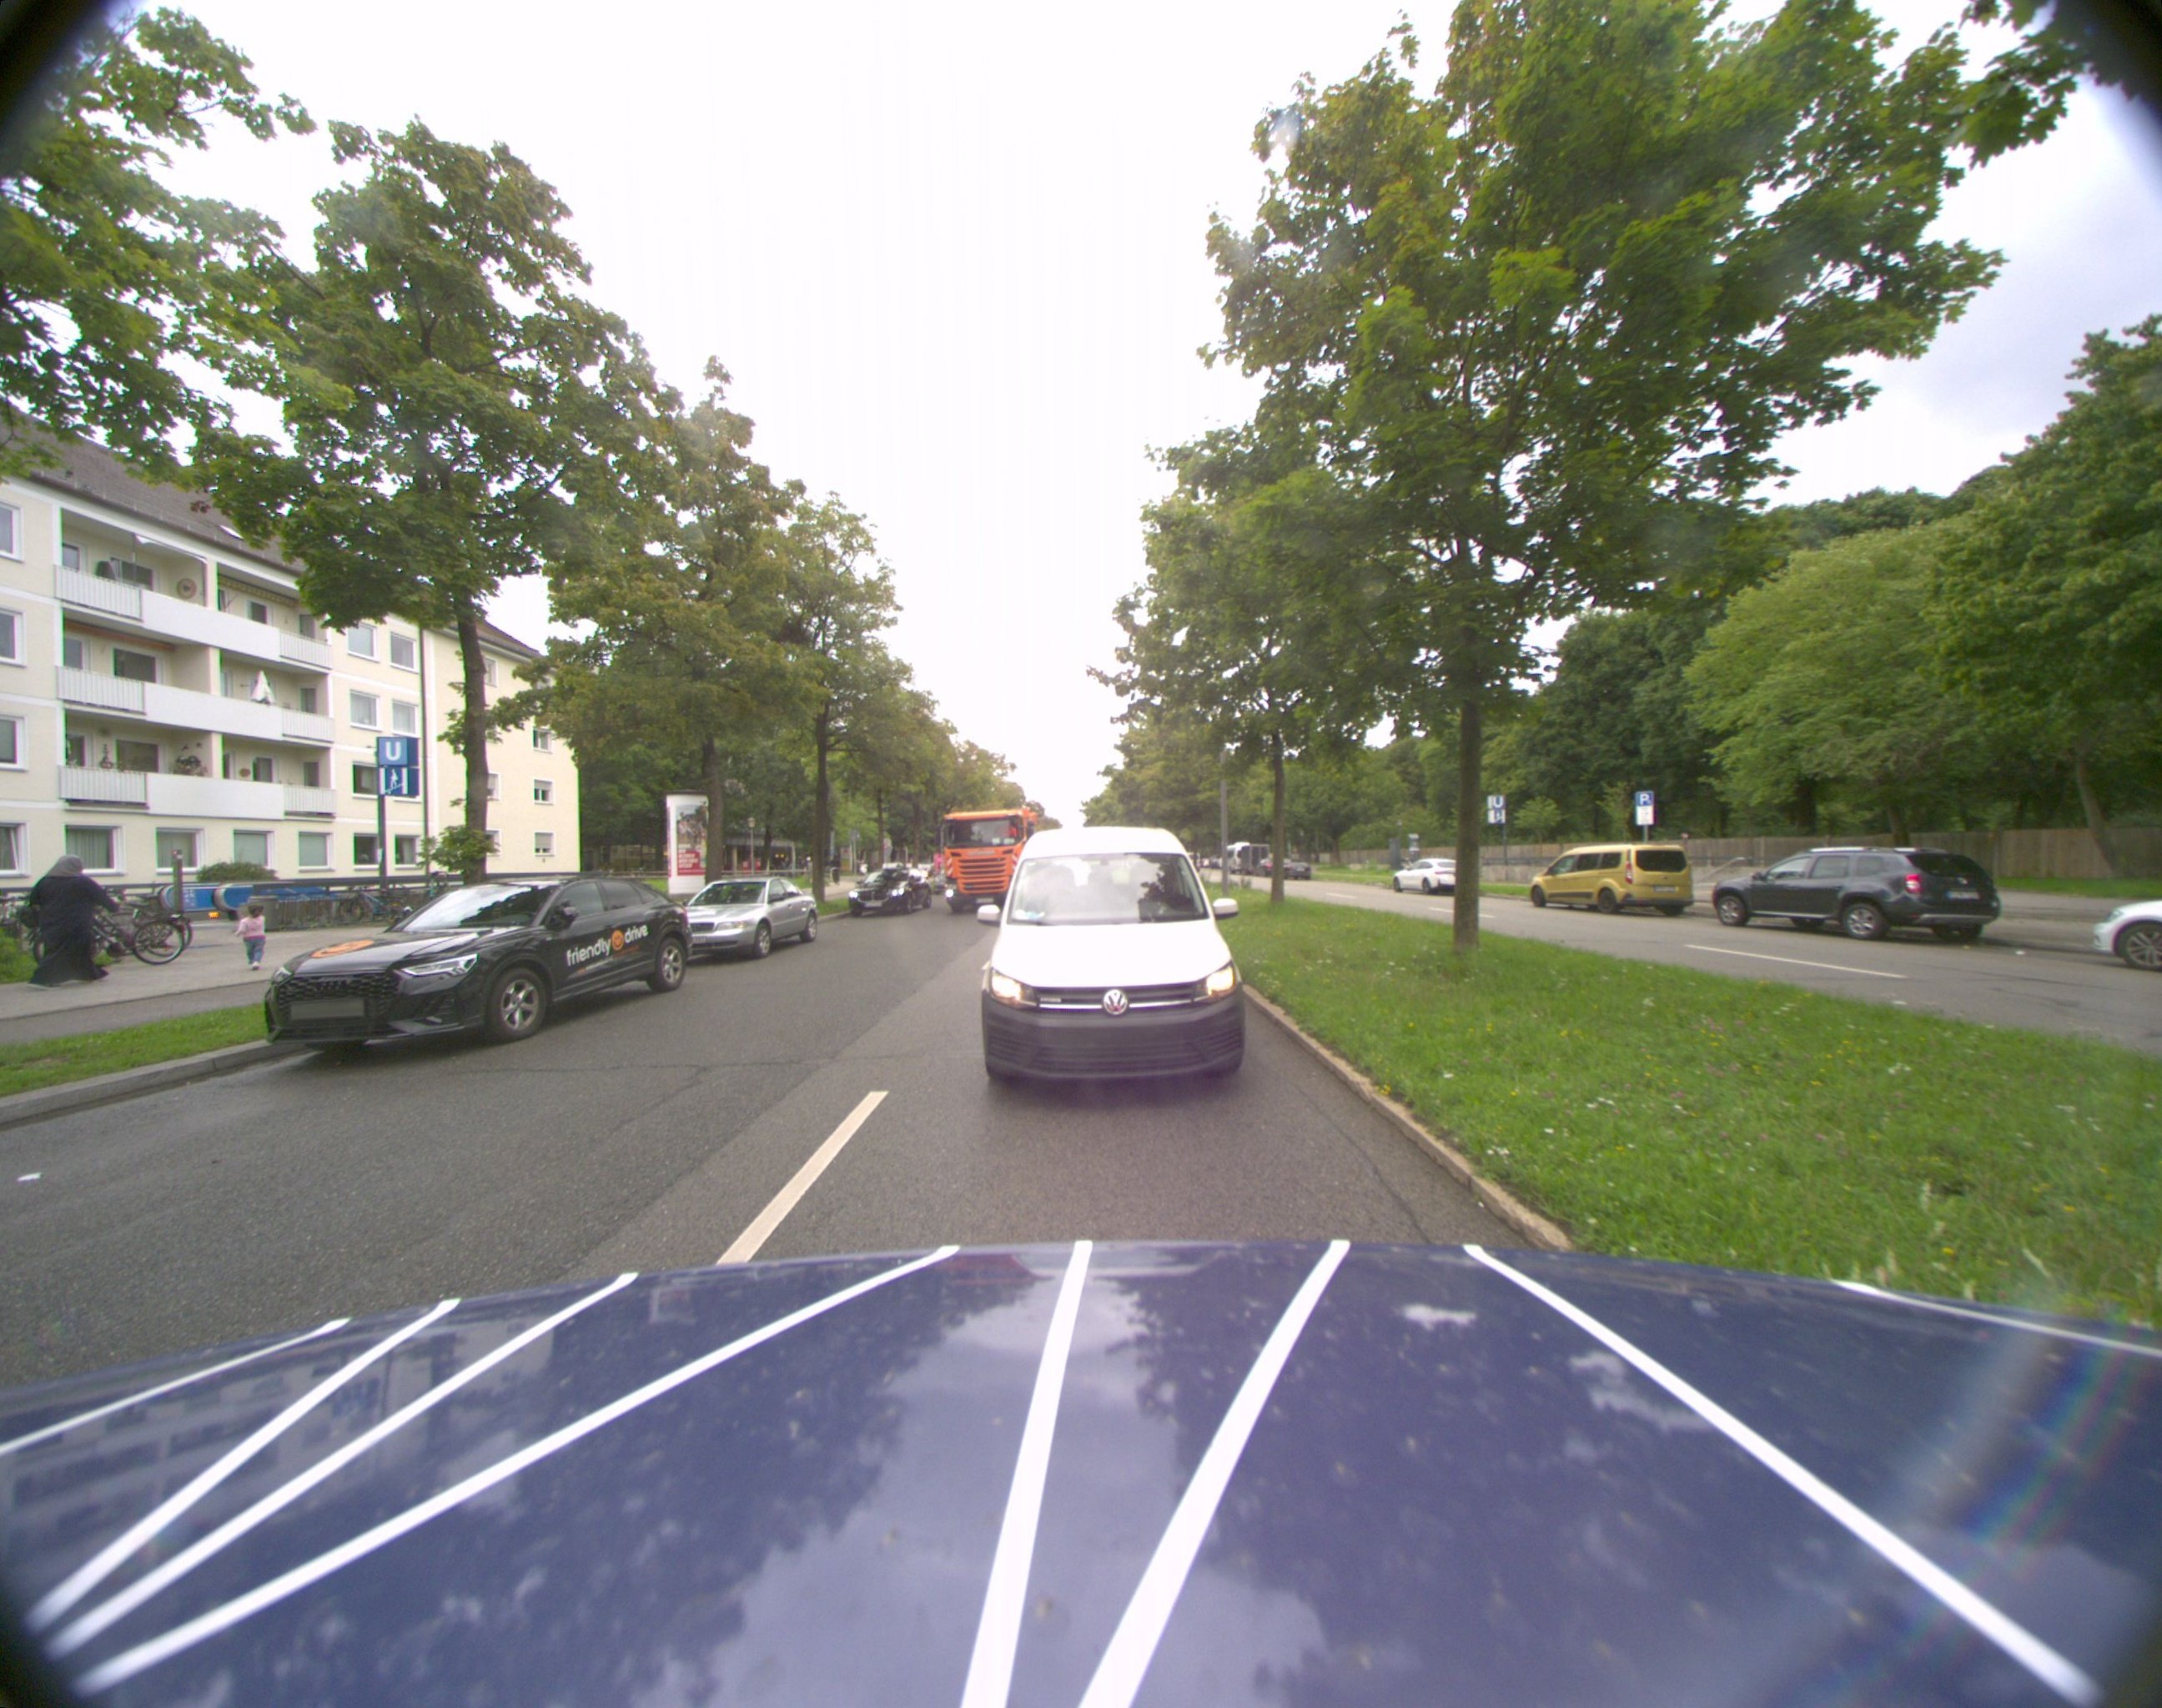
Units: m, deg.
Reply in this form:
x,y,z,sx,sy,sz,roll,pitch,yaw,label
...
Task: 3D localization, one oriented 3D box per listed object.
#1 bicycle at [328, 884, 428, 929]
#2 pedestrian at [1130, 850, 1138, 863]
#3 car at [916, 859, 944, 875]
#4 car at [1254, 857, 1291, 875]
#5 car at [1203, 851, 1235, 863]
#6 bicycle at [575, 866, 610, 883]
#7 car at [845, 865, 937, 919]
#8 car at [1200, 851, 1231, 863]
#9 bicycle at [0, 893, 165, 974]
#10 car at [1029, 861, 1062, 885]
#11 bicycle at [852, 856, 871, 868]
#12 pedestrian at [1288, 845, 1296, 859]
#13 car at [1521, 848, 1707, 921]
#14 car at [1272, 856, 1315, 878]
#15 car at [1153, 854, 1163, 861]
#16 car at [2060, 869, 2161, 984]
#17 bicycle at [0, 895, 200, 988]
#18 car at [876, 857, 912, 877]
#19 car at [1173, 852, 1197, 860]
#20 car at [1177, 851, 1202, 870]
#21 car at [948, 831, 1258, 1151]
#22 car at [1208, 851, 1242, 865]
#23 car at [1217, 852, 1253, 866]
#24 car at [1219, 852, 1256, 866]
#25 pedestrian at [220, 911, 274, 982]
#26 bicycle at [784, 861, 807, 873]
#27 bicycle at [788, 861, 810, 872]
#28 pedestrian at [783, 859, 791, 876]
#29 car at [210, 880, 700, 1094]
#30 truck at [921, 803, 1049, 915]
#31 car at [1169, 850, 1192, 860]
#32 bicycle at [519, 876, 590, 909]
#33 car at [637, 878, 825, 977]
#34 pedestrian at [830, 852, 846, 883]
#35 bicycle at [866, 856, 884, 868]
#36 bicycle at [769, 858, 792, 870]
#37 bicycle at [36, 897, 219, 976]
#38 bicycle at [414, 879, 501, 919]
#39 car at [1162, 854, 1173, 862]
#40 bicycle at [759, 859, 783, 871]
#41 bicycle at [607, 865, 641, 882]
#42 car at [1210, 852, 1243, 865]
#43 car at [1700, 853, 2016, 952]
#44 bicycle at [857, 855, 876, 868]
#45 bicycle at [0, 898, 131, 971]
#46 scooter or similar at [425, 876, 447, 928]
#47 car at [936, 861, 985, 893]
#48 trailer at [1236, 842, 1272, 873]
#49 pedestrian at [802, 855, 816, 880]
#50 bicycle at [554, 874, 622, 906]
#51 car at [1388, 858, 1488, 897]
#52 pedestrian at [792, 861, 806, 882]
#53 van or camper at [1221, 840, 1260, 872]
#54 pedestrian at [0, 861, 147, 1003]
x,y,z,sx,sy,sz,roll,pitch,yaw,label
-16.494,1.228,17.846,1.882,1.022,0.432,0,1,-3,bicycle
7.125,0.338,102.262,0.872,1.689,0.771,0,2,20,pedestrian
-15.756,1.326,79.404,1.826,1.522,4.603,0,0,2,car
14.859,0.917,59.111,1.805,1.376,4.238,0,0,1,car
19.301,0.365,106.422,4.005,1.455,1.888,-3,0,-27,car
-28.788,1.201,44.773,1.696,0.965,0.455,-1,0,-3,bicycle
-6.008,1.164,24.500,1.755,1.457,4.176,-2,0,1,car
19.370,0.424,109.471,4.005,1.446,1.737,-3,0,-27,car
-15.932,1.209,12.074,0.432,1.095,1.884,0,0,1,bicycle
-2.323,1.235,50.421,1.799,1.434,4.668,-3,0,1,car
-28.792,1.054,99.661,2.313,1.523,0.649,-1,1,0,bicycle
27.119,-0.301,97.840,0.770,1.757,0.873,0,1,-3,pedestrian
14.437,0.753,20.995,1.819,1.772,4.818,0,0,1,car
14.637,0.885,52.552,1.805,1.417,4.431,0,0,1,car
17.413,0.690,171.895,1.889,1.435,4.169,-2,0,4,car
14.575,0.929,8.346,1.767,1.441,4.532,0,0,0,car
-13.813,1.183,10.772,0.432,1.127,1.884,0,0,1,bicycle
-16.038,1.066,65.295,1.826,1.624,4.198,0,0,2,car
18.314,0.369,133.882,4.006,1.358,1.588,-2,1,-30,car
11.285,0.616,79.280,1.804,1.922,4.993,0,0,0,car
0.101,0.783,6.659,1.750,1.807,4.667,-1,0,-1,car
18.961,0.484,100.124,4.005,1.577,1.798,-3,0,-28,car
19.145,0.662,94.150,4.331,1.564,1.797,-2,1,-34,car
18.636,0.575,90.489,4.331,1.430,1.797,-2,1,-34,car
-11.902,1.304,10.848,0.434,0.944,0.409,0,1,28,pedestrian
-28.517,1.319,75.833,2.080,1.114,0.455,-1,1,0,bicycle
-28.981,1.262,78.195,2.080,1.114,0.455,-1,1,0,bicycle
-27.249,1.254,70.329,0.632,1.533,0.659,1,1,-23,pedestrian
-6.134,1.153,8.288,1.721,1.524,4.275,-2,0,0,car
-2.982,0.139,26.590,3.046,3.170,9.133,-2,0,1,truck
18.482,0.214,140.500,4.006,1.718,1.777,-2,1,-34,car
-16.568,1.200,23.913,1.882,1.022,0.432,0,1,-3,bicycle
-6.264,1.229,14.184,1.640,1.378,4.243,-2,0,-3,car
-13.802,0.787,43.174,0.641,1.739,0.849,1,0,-1,pedestrian
-28.842,1.061,106.461,2.316,1.613,0.648,-1,1,-16,bicycle
-28.844,0.980,72.935,2.080,1.114,0.455,-1,1,0,bicycle
-14.702,1.238,11.802,0.432,1.022,1.884,0,0,1,bicycle
-16.604,1.199,20.259,1.882,1.022,0.432,0,1,-3,bicycle
17.303,0.803,151.683,1.889,1.435,4.169,-2,0,4,car
-30.058,1.093,73.744,2.080,1.114,0.455,-1,1,0,bicycle
-27.005,1.145,44.906,1.696,0.965,0.455,-1,0,-3,bicycle
18.633,0.575,97.134,4.006,1.477,1.797,-3,0,-34,car
14.646,0.806,14.754,1.741,1.636,4.255,0,0,0,car
-28.719,0.990,101.623,2.313,1.613,0.649,-1,1,0,bicycle
-16.634,1.277,12.174,0.432,1.022,1.884,0,0,1,bicycle
-15.895,1.158,18.710,0.359,1.193,1.386,-1,1,-42,scooter or similar
-6.047,1.123,38.505,1.686,1.457,4.115,-2,0,1,car
14.744,0.302,64.924,2.022,2.575,4.658,0,0,1,trailer
-18.983,0.934,53.073,0.599,1.720,0.642,-2,1,26,pedestrian
-16.414,1.190,25.335,1.883,1.022,0.432,0,1,-8,bicycle
14.764,0.921,31.768,1.861,1.464,4.874,0,0,0,car
-21.562,1.319,58.034,0.779,1.565,0.581,-2,1,27,pedestrian
14.805,0.186,71.031,2.040,2.821,7.546,0,0,1,van or camper
-12.558,0.931,9.434,0.840,1.671,0.835,-1,1,-1,pedestrian
